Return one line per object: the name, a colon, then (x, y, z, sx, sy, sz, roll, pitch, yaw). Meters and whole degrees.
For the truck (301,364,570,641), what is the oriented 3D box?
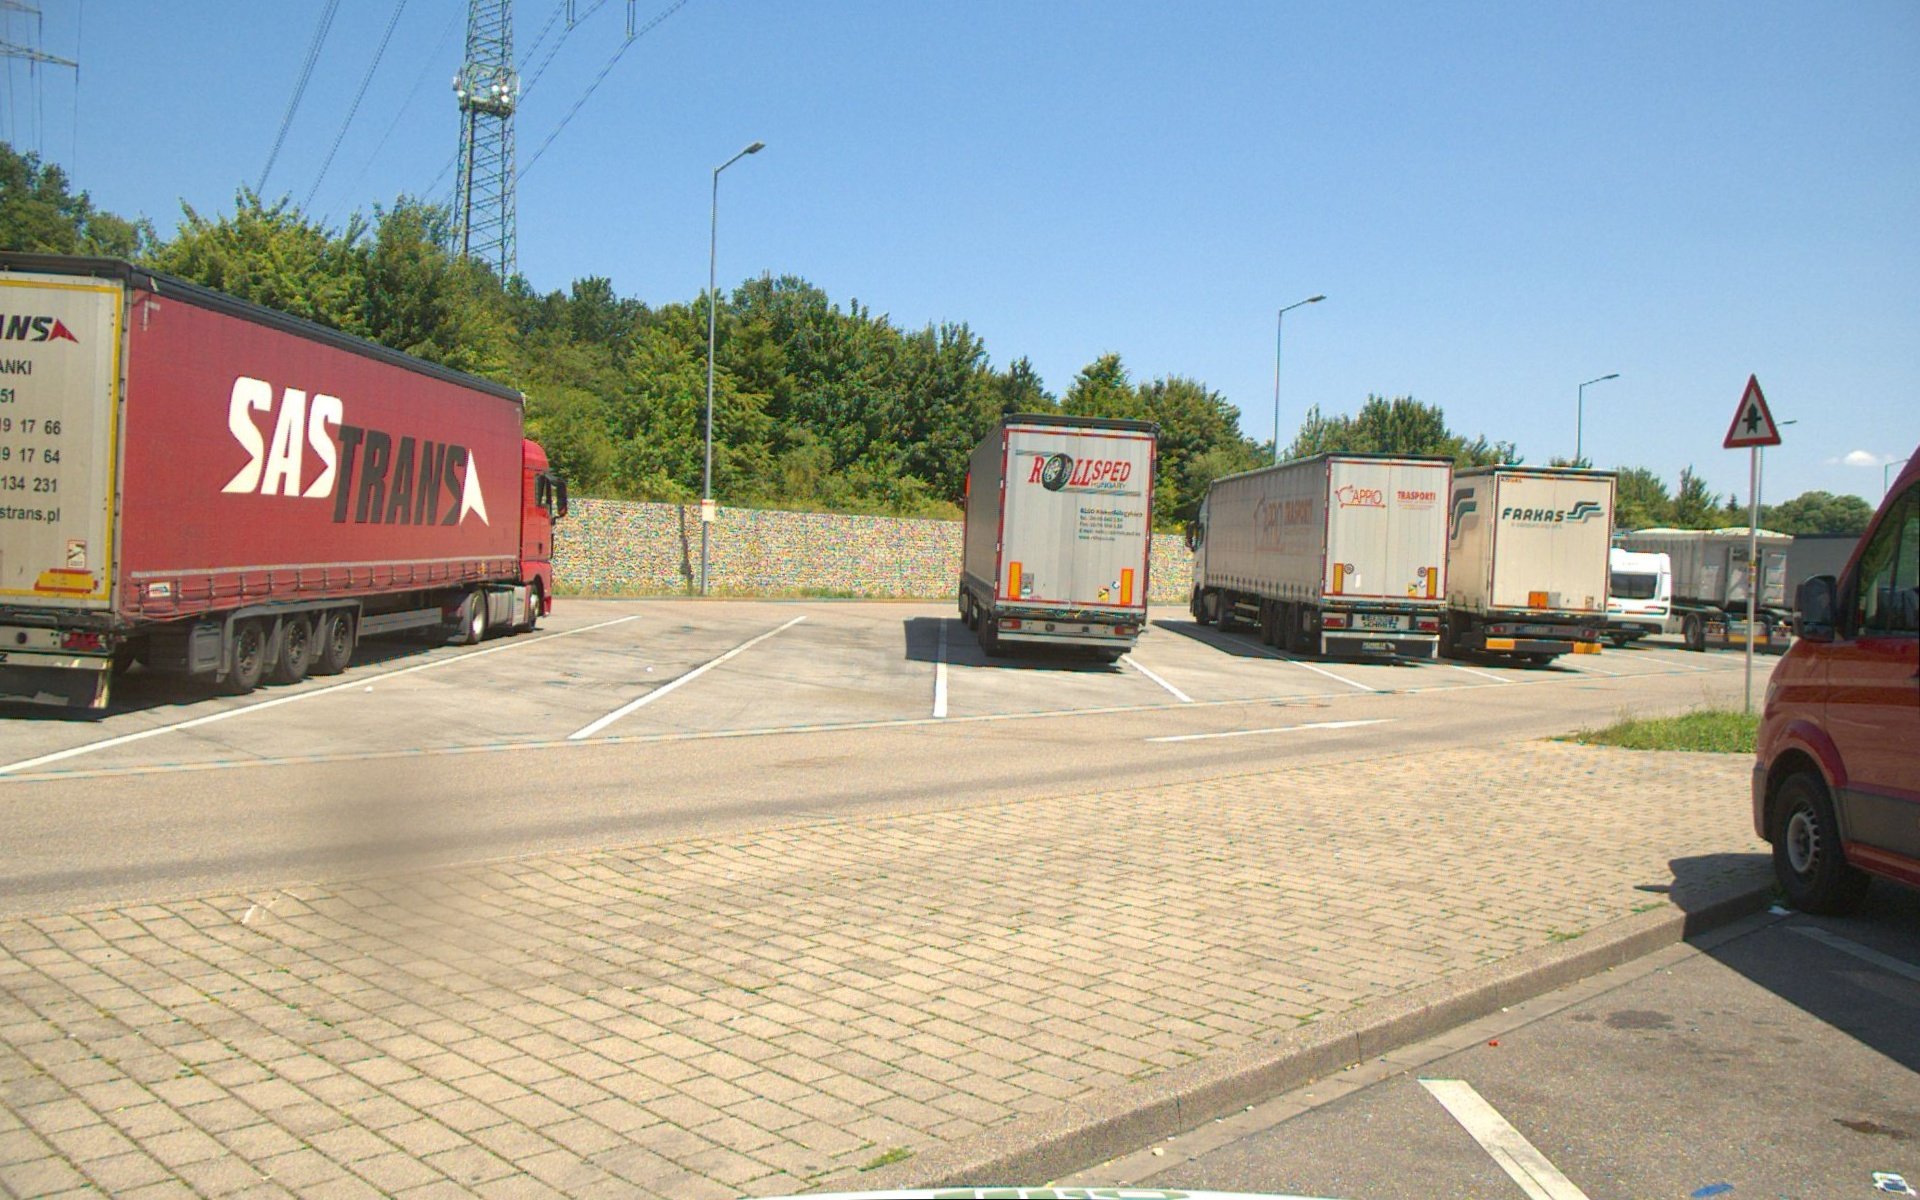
truck: (-8.727, -1.541, 28.261, 2.749, 4.205, 5.893, 1, 1, -1)

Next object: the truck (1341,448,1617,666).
truck: (11.712, -0.827, 38.899, 2.534, 4.299, 11.967, 1, 0, -1)

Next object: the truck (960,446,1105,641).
truck: (1.518, -1.244, 37.696, 2.813, 4.050, 6.028, 1, 1, -2)

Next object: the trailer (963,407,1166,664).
trailer: (1.686, -1.132, 32.151, 2.839, 4.083, 11.313, 1, 1, -2)

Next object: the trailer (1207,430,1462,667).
trailer: (8.174, -1.102, 38.241, 2.627, 4.530, 12.826, 1, 1, -1)

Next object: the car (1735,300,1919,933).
car: (4.976, 0.102, 5.596, 1.952, 2.679, 6.385, 1, 1, 3)

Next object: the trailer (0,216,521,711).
trailer: (-8.639, -1.319, 21.006, 2.743, 4.293, 13.200, 1, 1, -1)

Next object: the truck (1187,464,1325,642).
truck: (8.015, -1.258, 45.509, 2.607, 4.530, 5.863, 1, 1, -1)

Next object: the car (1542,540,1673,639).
car: (18.230, -0.278, 46.763, 2.072, 2.645, 3.999, 1, 0, -1)

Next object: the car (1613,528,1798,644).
car: (21.694, -0.446, 48.523, 2.449, 3.128, 6.350, 1, 1, -1)
